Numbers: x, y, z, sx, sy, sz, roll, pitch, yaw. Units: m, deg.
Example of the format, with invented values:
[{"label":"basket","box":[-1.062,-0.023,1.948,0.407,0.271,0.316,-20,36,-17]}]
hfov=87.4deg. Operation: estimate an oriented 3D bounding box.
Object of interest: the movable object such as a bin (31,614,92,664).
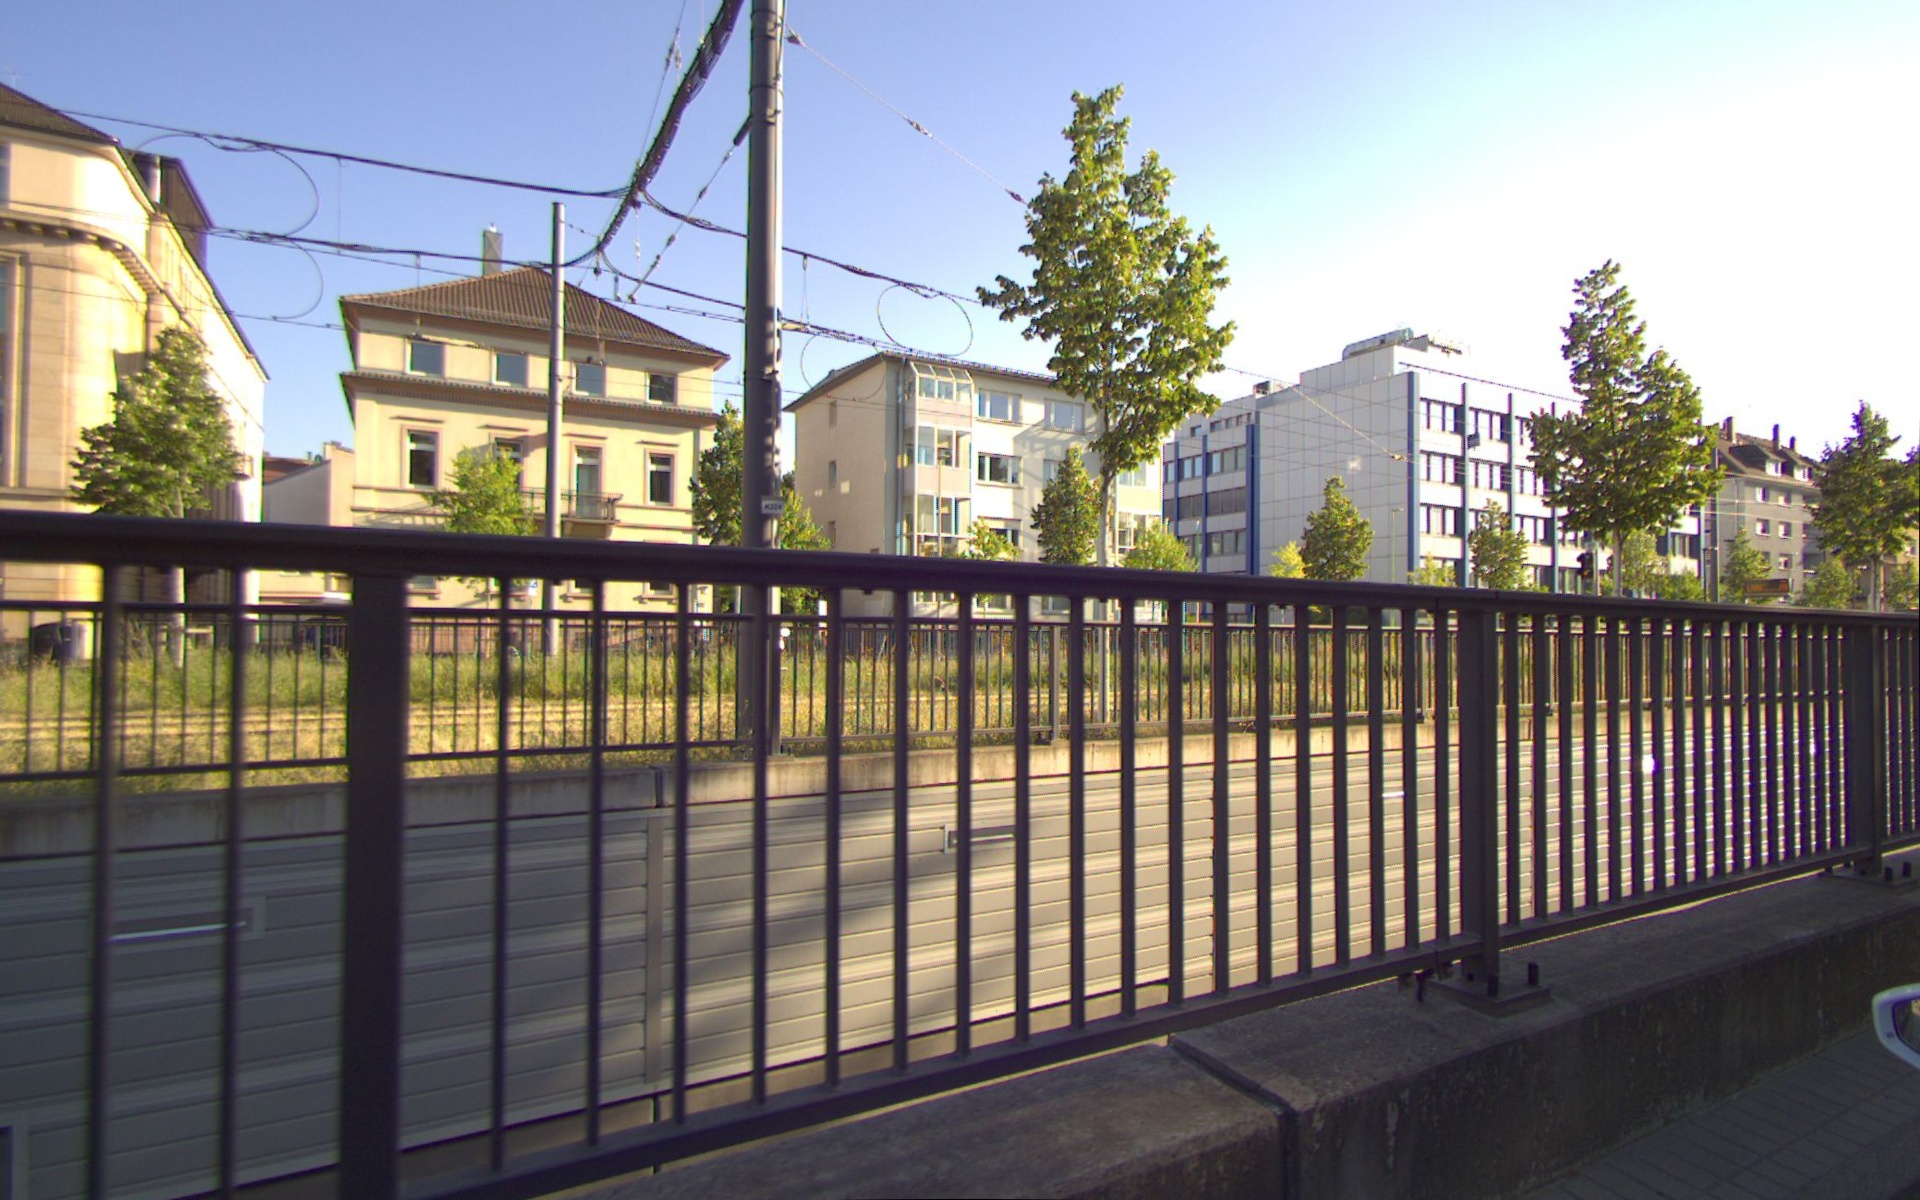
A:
[{"label":"movable object such as a bin","box":[-26.432,1.144,29.579,1.067,1.448,1.200,1,-2,-30]}]

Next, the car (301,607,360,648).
[{"label":"car","box":[-25.101,1.080,40.161,1.661,1.488,3.971,3,-1,-28]}]

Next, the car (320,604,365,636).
[{"label":"car","box":[-31.579,1.000,51.443,1.661,1.488,3.971,3,-1,-28]}]

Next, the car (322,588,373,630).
[{"label":"car","box":[-36.139,0.525,59.380,2.220,2.299,4.547,3,-1,-28]}]
